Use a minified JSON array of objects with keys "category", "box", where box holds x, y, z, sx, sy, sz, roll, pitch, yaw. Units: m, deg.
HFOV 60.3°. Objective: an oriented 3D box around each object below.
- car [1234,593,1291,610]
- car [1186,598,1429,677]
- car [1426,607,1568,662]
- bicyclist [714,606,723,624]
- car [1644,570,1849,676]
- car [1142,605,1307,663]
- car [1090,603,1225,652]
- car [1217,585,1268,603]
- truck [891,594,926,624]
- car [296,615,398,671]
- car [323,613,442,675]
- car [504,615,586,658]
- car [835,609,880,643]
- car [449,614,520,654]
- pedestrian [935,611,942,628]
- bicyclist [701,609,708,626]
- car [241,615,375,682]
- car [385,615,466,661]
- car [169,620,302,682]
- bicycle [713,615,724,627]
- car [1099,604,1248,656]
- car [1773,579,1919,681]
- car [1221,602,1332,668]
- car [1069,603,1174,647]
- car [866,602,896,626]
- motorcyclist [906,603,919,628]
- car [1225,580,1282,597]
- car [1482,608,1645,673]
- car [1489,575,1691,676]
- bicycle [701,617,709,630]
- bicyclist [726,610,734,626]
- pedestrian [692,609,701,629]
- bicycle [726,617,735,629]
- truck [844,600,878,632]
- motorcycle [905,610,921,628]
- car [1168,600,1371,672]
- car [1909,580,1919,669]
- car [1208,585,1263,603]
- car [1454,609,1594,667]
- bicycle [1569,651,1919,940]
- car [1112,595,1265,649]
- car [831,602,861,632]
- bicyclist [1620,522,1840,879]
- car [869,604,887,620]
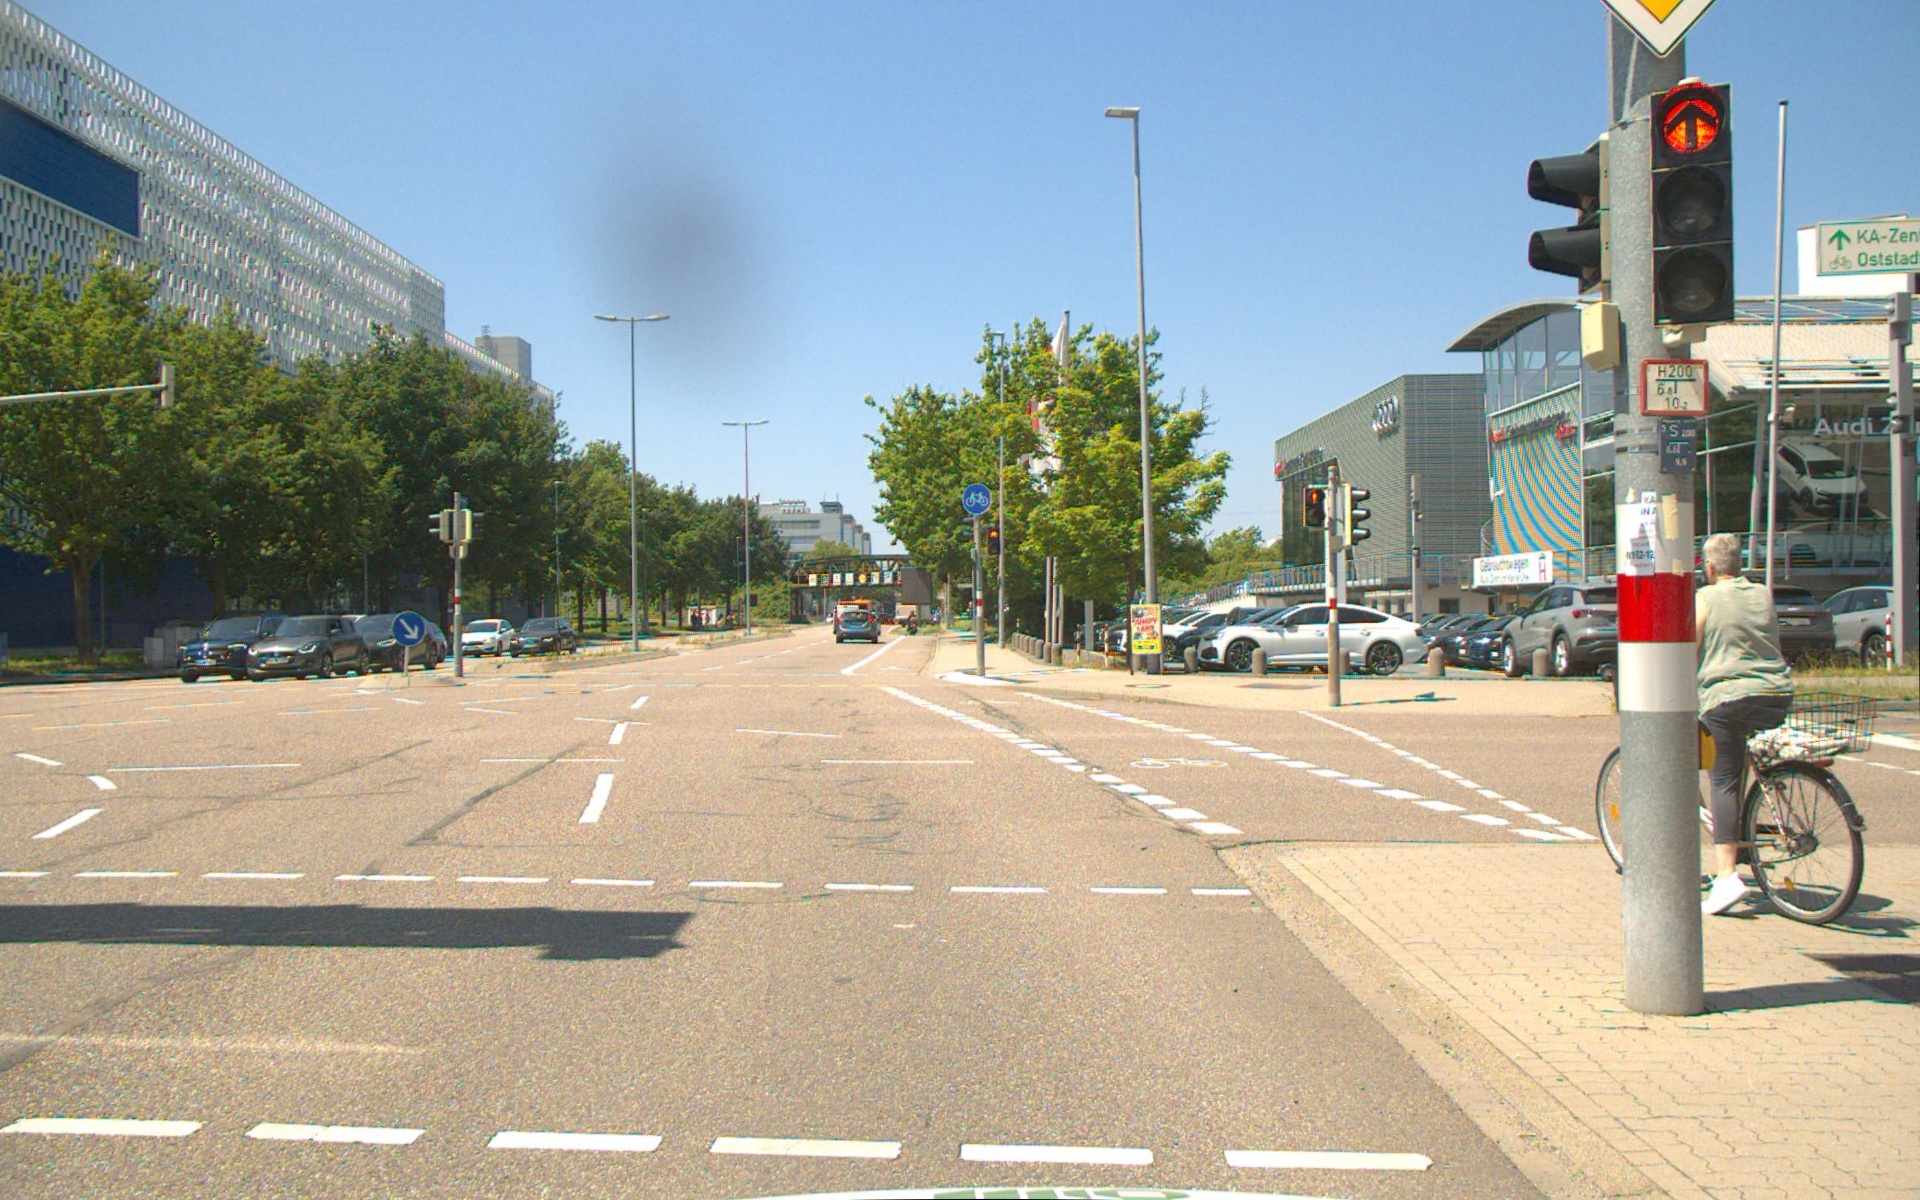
[{"category":"car","box":[21.297,0.118,116.665,3.652,1.150,1.682,1,-1,-5]},{"category":"car","box":[6.936,0.741,33.344,4.497,1.415,1.869,2,-1,1]},{"category":"car","box":[16.788,1.080,51.822,3.901,1.601,1.633,2,-1,-1]},{"category":"bicyclist","box":[-22.770,1.409,155.985,0.730,1.715,0.952,-1,-1,-2]},{"category":"car","box":[13.636,0.421,28.939,1.806,1.683,3.999,2,-1,2]},{"category":"car","box":[6.942,0.885,43.706,4.013,1.388,1.874,2,-1,-1]},{"category":"car","box":[6.202,0.861,52.236,4.017,1.429,1.868,2,-1,-1]},{"category":"car","box":[21.379,-0.466,125.195,3.455,1.261,1.675,1,-1,-5]},{"category":"truck","box":[-5.156,0.940,167.727,2.559,2.900,5.619,1,0,8]},{"category":"car","box":[-18.600,1.287,50.332,1.691,1.571,3.914,-2,-1,-1]},{"category":"car","box":[-15.546,1.173,44.769,1.691,1.531,4.243,-3,-1,0]},{"category":"car","box":[-15.605,1.354,62.417,1.691,1.471,4.720,-3,-1,2]},{"category":"car","box":[-4.536,1.138,73.668,1.862,1.400,4.230,-1,0,-2]},{"category":"car","box":[-18.963,1.343,66.122,1.708,1.512,3.999,-2,-1,-1]},{"category":"pedestrian","box":[-1.801,1.633,138.916,0.611,1.399,0.564,-1,-1,-3]},{"category":"bicyclist","box":[-23.530,1.630,152.496,0.625,1.610,0.883,-1,-1,-8]},{"category":"car","box":[-15.144,1.115,38.594,1.610,1.413,3.715,-3,-1,0]},{"category":"car","box":[-18.801,1.317,58.341,1.616,1.512,3.914,-2,-1,-1]},{"category":"car","box":[-18.356,1.261,42.085,1.627,1.449,4.037,-2,-1,-1]},{"category":"bicycle","box":[-22.768,1.967,156.098,0.724,1.145,2.433,-1,0,-2]},{"category":"car","box":[6.321,0.894,49.295,4.140,1.415,1.868,2,-1,-1]},{"category":"car","box":[16.417,0.530,29.296,1.808,1.683,3.994,2,-1,-5]},{"category":"car","box":[7.550,0.813,39.867,1.824,1.444,4.663,2,-1,1]},{"category":"car","box":[5.871,0.904,60.384,3.607,1.479,1.833,2,-1,-1]},{"category":"car","box":[-4.814,0.827,101.077,1.708,1.420,3.528,0,0,-1]},{"category":"motorcyclist","box":[-3.031,1.008,105.921,0.706,1.556,0.868,1,-1,-11]},{"category":"car","box":[21.431,-0.822,120.855,3.862,1.232,1.715,0,-1,-5]},{"category":"car","box":[16.753,1.117,45.999,3.904,1.650,1.656,2,-1,-1]},{"category":"car","box":[11.001,0.478,29.239,1.830,1.586,4.503,-2,-2,0]},{"category":"bicycle","box":[-23.526,2.133,152.542,0.625,1.153,1.967,-1,-1,-8]},{"category":"bicyclist","box":[-23.341,1.813,167.733,0.621,1.657,1.044,-3,-1,-2]},{"category":"pedestrian","box":[-25.466,1.823,159.972,0.728,1.917,0.577,-1,-1,0]},{"category":"bicycle","box":[-23.319,2.301,167.803,0.616,1.179,2.116,-3,0,-2]},{"category":"truck","box":[-8.011,1.268,134.494,2.408,2.452,7.132,1,0,-1]},{"category":"motorcycle","box":[-3.016,1.213,105.856,0.703,1.124,1.825,1,-1,-10]},{"category":"car","box":[6.629,0.765,35.743,4.013,1.415,1.868,2,-1,-1]},{"category":"car","box":[18.702,0.477,29.095,1.604,1.644,3.814,0,1,-5]},{"category":"car","box":[21.578,-0.481,129.693,3.909,1.335,1.795,1,-1,-5]},{"category":"car","box":[16.765,1.123,49.249,3.573,1.608,1.642,2,-1,-1]},{"category":"bicycle","box":[3.718,0.865,8.026,0.616,1.153,1.892,0,1,-7]},{"category":"car","box":[6.393,0.619,46.545,4.016,1.372,1.868,2,-1,-1]},{"category":"car","box":[-7.971,1.162,115.894,1.953,2.049,3.998,-1,0,-2]},{"category":"bicyclist","box":[3.720,0.467,8.042,0.616,1.634,0.824,1,-1,-8]},{"category":"car","box":[-10.656,1.567,214.745,1.952,2.049,4.001,-2,0,2]}]
